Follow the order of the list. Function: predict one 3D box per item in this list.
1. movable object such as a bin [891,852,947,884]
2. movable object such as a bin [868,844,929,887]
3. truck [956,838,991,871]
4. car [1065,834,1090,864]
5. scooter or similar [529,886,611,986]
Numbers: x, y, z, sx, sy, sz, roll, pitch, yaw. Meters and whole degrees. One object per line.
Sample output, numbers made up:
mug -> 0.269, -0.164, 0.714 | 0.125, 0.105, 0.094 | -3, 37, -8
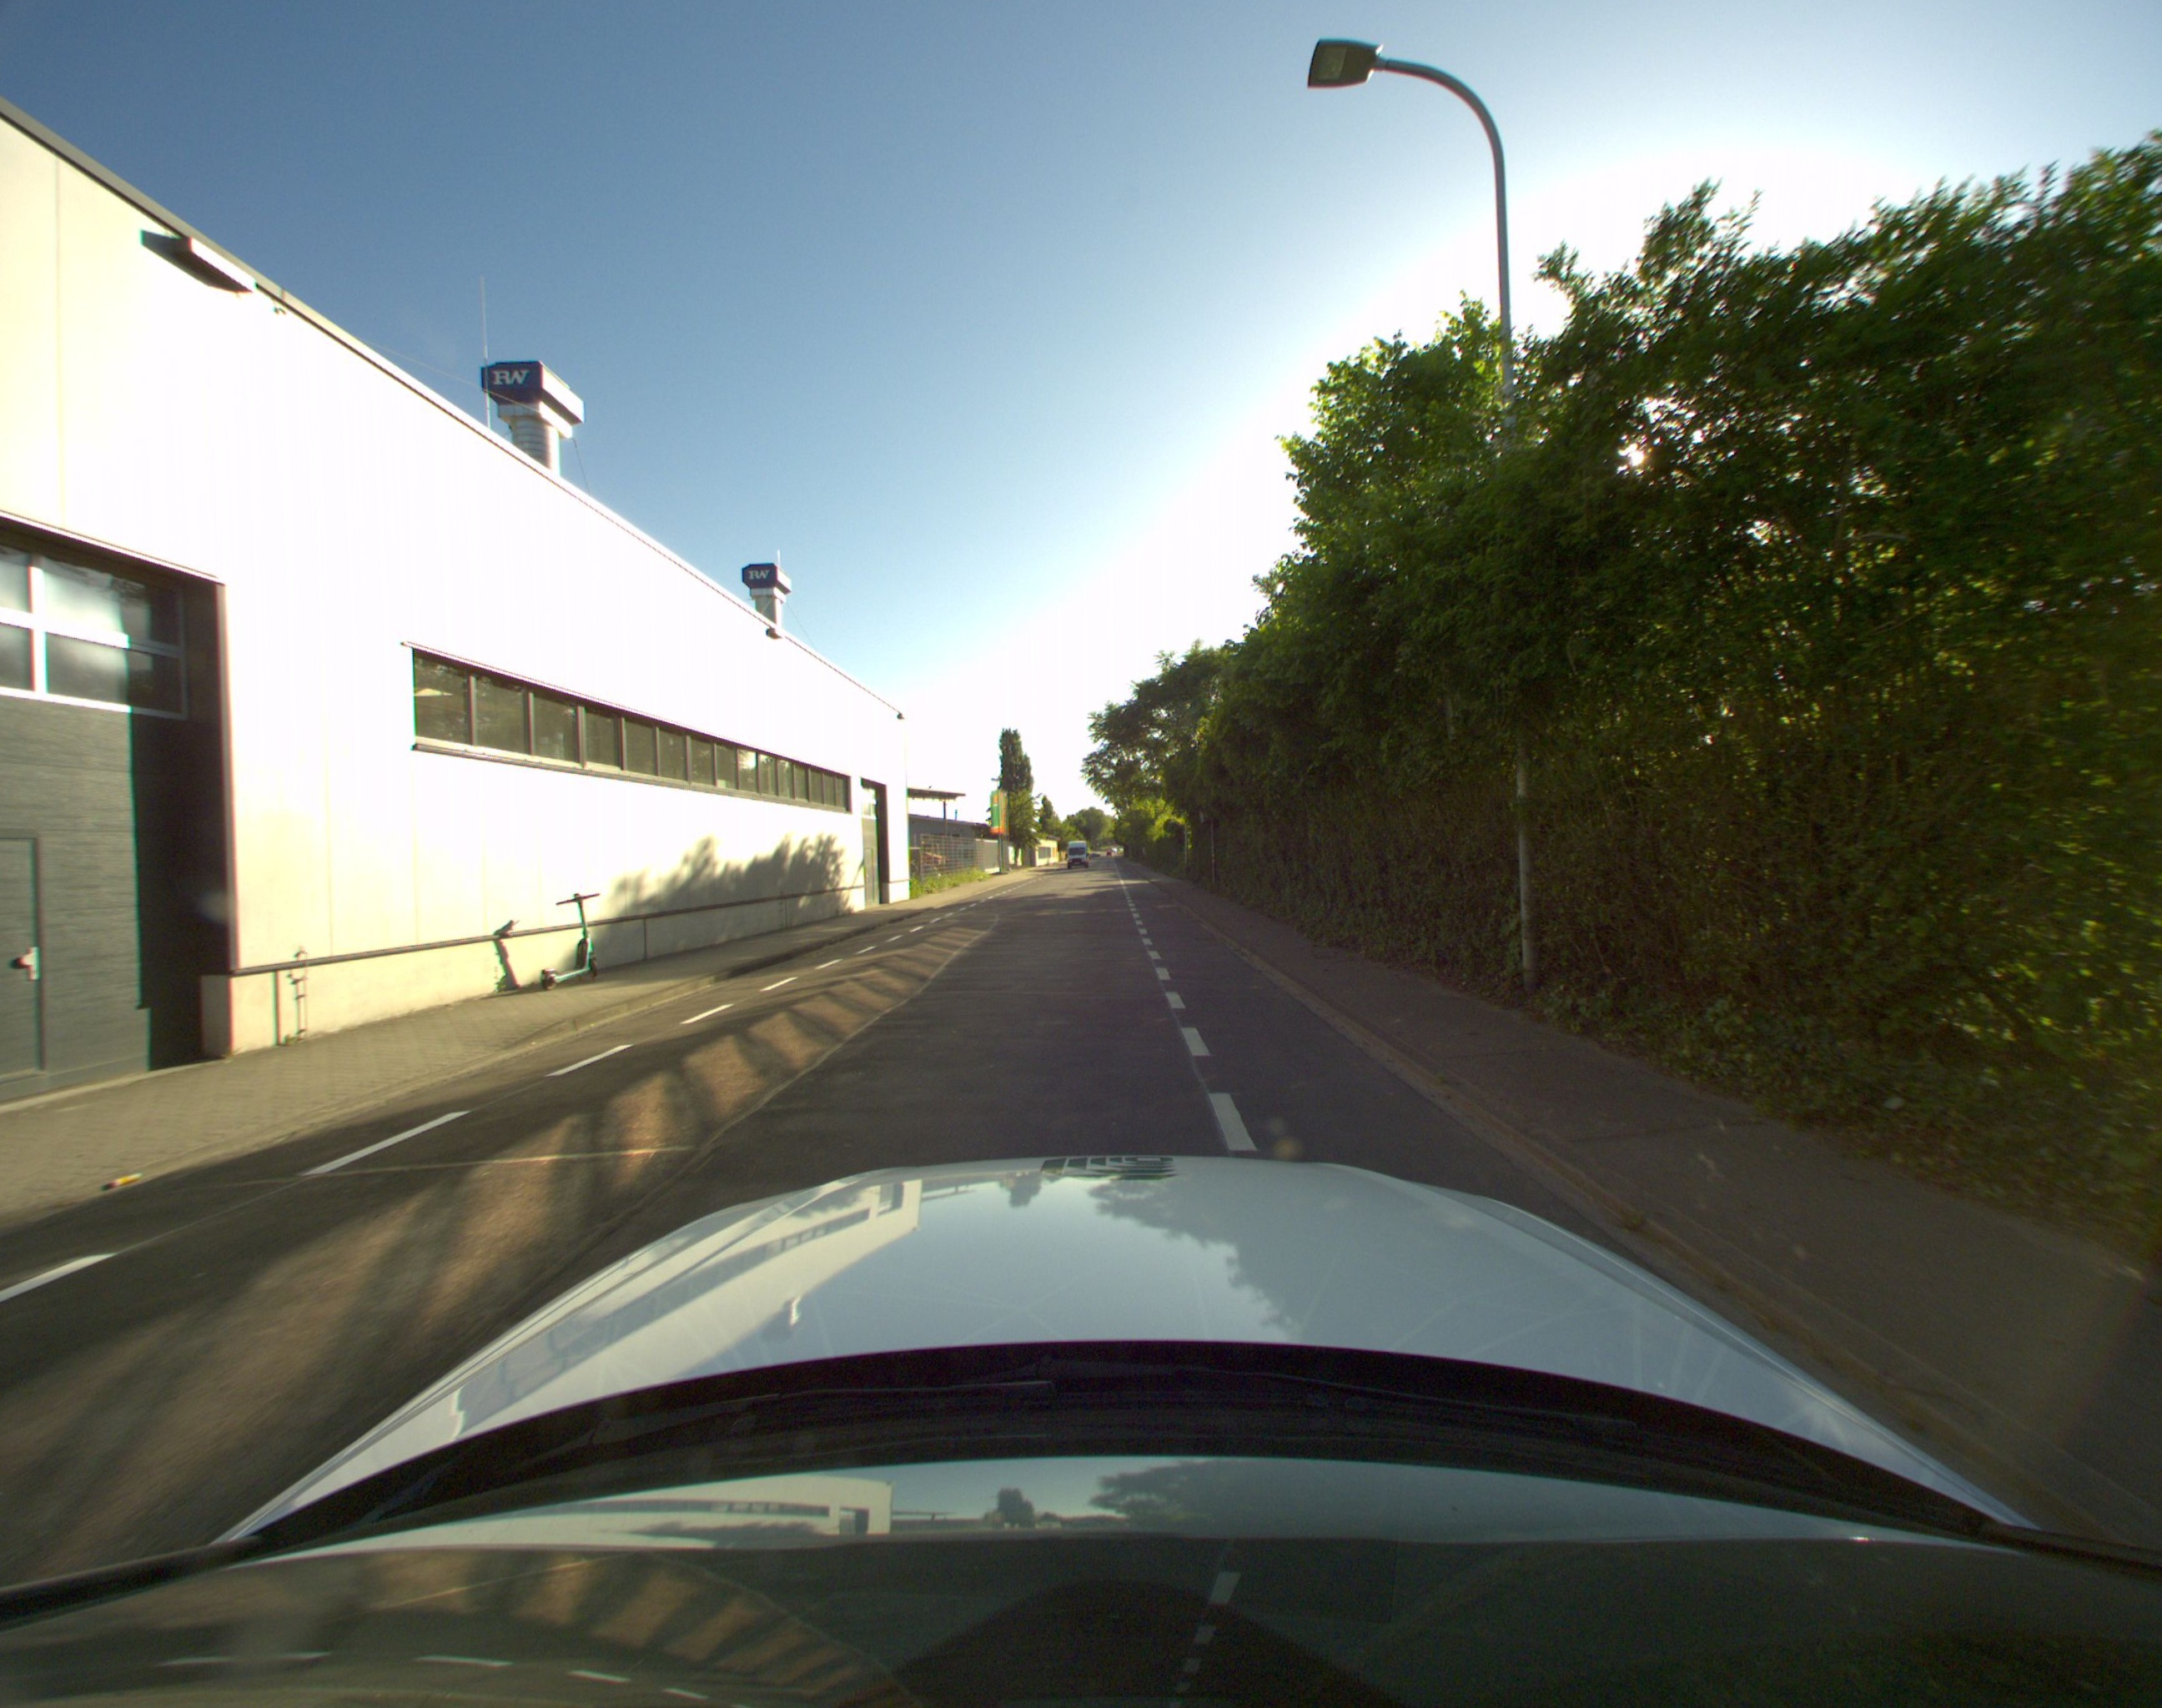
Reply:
movable object such as a bin -> -9.729, 0.823, 48.996 | 3.029, 1.835, 1.525 | -2, 1, 0
movable object such as a bin -> -9.525, 0.615, 42.587 | 2.737, 2.165, 1.533 | -1, 1, 31
truck -> -9.587, 0.039, 73.009 | 2.071, 2.761, 5.767 | -2, 0, 2
car -> -0.313, -0.498, 83.199 | 2.114, 2.780, 5.931 | -4, 0, 3
scooter or similar -> -7.058, 1.107, 11.288 | 0.414, 1.267, 1.060 | -2, 0, 2
